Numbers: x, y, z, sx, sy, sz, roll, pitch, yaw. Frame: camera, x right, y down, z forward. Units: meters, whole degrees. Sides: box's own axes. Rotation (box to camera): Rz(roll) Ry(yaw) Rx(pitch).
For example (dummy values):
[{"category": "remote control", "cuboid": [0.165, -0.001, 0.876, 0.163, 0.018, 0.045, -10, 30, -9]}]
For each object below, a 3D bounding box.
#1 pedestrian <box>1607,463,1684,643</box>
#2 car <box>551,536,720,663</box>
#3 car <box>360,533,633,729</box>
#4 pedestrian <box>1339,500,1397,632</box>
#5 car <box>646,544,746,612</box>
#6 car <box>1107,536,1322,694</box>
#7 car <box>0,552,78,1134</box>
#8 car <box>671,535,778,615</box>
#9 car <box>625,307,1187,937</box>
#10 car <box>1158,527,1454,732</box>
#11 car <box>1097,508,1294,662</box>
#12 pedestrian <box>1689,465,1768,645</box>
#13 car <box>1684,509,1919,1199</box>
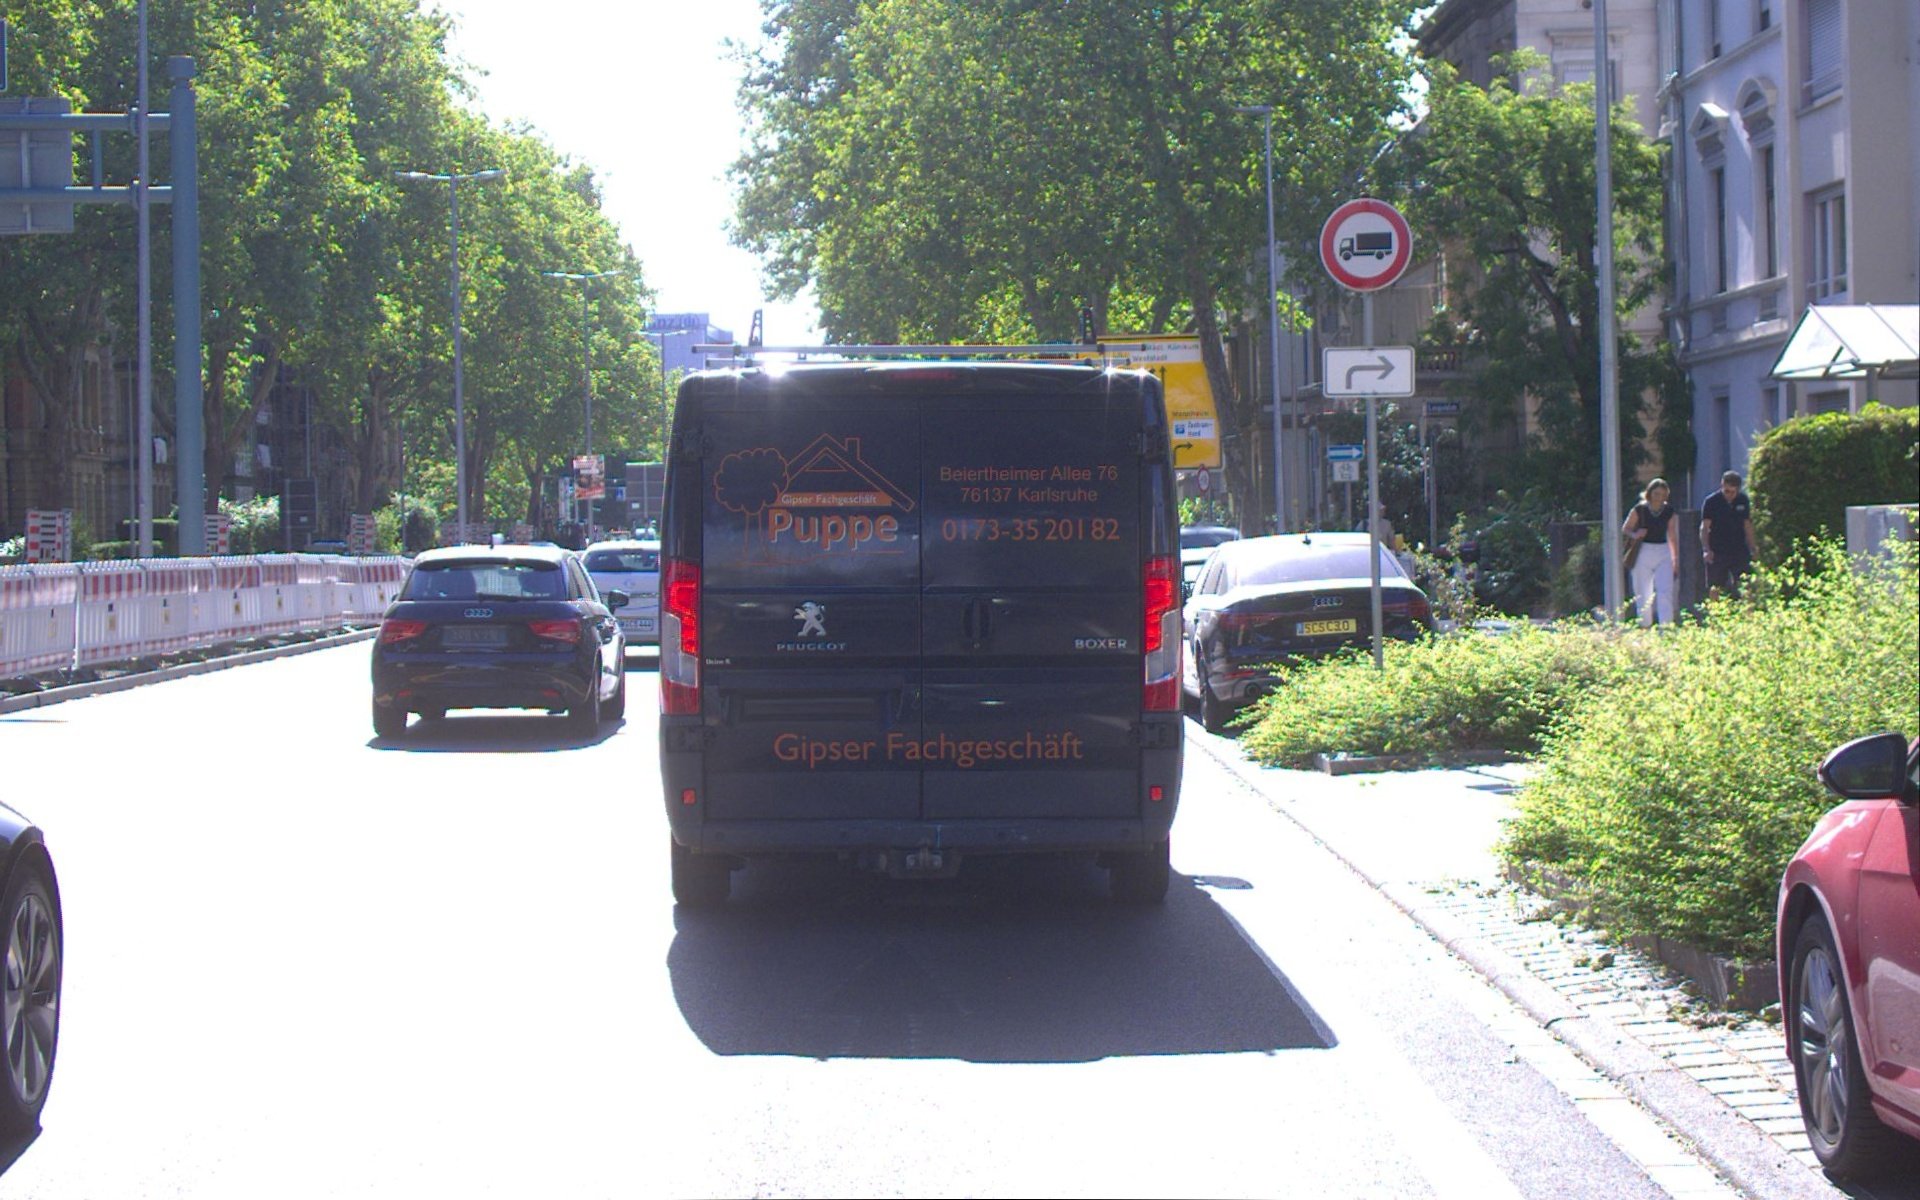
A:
[{"category": "pedestrian", "cuboid": [6.828, -0.469, 34.278, 0.675, 1.749, 0.875, -1, 1, 9]}, {"category": "car", "cuboid": [-3.815, -0.032, 40.869, 1.548, 1.420, 3.555, -1, 1, 2]}, {"category": "car", "cuboid": [-3.546, 0.197, 26.878, 1.746, 1.402, 4.000, 0, 1, -2]}, {"category": "pedestrian", "cuboid": [6.346, -0.532, 53.496, 0.798, 2.007, 1.168, -1, 1, 4]}, {"category": "car", "cuboid": [-6.108, -0.537, 79.931, 1.993, 1.465, 4.000, 1, 2, 0]}, {"category": "car", "cuboid": [2.410, 0.107, 33.364, 1.844, 1.403, 3.800, -1, 1, 1]}, {"category": "car", "cuboid": [-3.257, 0.621, 6.793, 1.925, 1.407, 4.626, 1, 1, -1]}, {"category": "car", "cuboid": [-3.750, -0.413, 55.103, 1.421, 1.221, 3.438, -1, 1, 0]}, {"category": "car", "cuboid": [-0.255, 0.026, 14.791, 2.095, 2.347, 3.933, 0, 2, -2]}, {"category": "car", "cuboid": [2.642, 0.175, 27.194, 1.844, 1.437, 4.487, -1, 1, 0]}, {"category": "car", "cuboid": [2.701, -0.197, 40.149, 1.844, 1.638, 3.801, -2, 1, -2]}, {"category": "pedestrian", "cuboid": [7.623, -0.451, 34.129, 0.654, 1.749, 1.013, -1, 1, 9]}, {"category": "car", "cuboid": [2.762, 0.552, 6.331, 1.821, 1.502, 4.677, -2, 1, 0]}]
